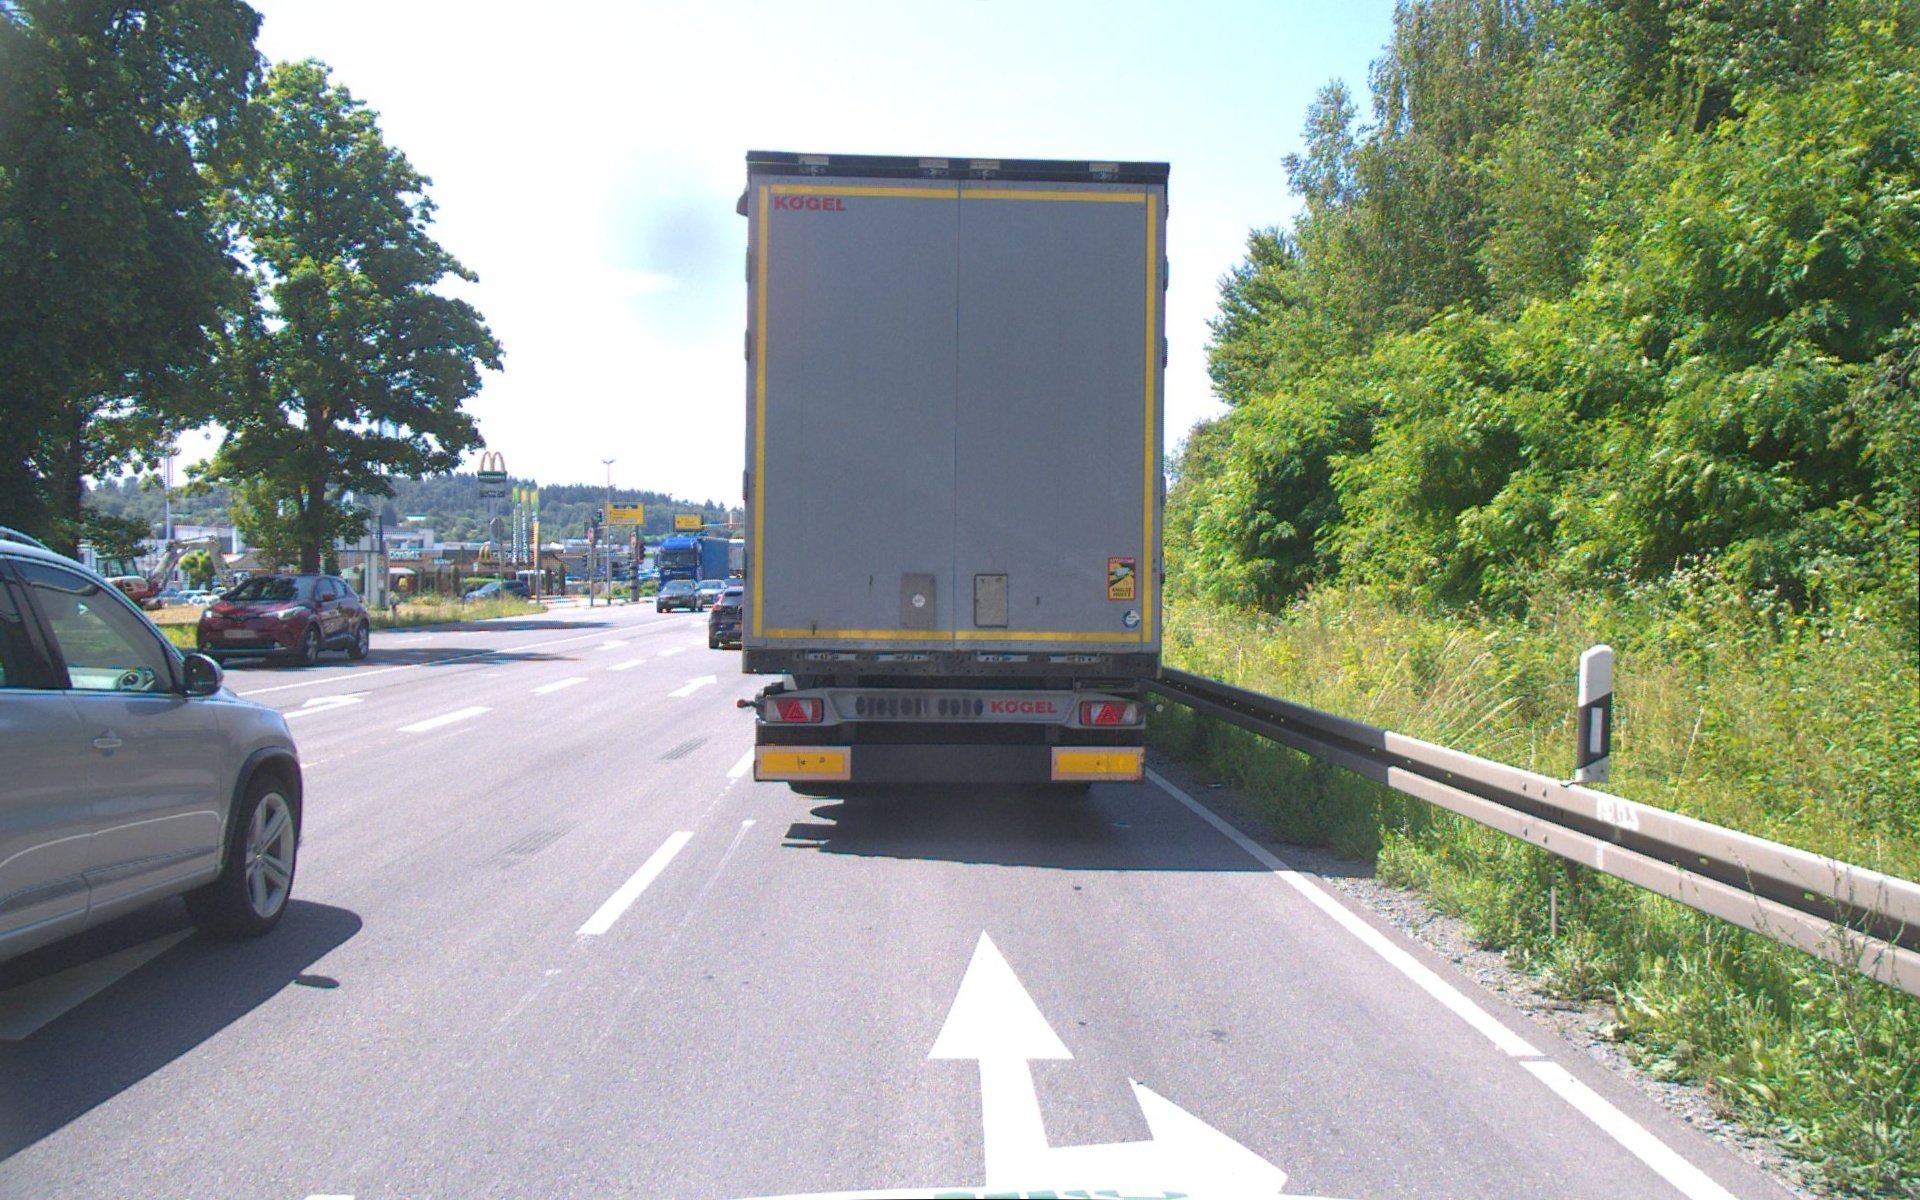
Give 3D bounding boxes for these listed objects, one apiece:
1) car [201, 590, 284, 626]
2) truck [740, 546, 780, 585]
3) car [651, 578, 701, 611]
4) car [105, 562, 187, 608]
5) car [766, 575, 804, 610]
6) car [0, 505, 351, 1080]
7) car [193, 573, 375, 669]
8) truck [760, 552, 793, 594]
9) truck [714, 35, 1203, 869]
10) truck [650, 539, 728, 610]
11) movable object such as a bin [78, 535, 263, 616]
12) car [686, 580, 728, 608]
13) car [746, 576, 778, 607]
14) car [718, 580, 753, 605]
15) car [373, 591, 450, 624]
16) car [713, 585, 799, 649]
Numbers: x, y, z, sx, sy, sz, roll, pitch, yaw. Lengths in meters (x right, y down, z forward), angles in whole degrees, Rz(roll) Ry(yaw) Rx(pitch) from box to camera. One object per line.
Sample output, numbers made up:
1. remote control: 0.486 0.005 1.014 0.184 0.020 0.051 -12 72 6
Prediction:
1. car: -34.739 0.370 80.091 3.920 1.680 1.993 1 0 36
2. truck: -18.366 -3.128 152.214 2.789 3.410 11.476 0 0 -3
3. car: -12.919 -0.223 75.514 1.731 1.410 3.998 1 0 -3
4. car: -37.791 -0.692 76.780 3.925 2.049 1.990 1 0 39
5. car: -10.543 -0.469 99.964 1.953 2.049 3.999 0 0 -1
6. car: -3.716 0.543 5.560 1.768 1.699 4.291 1 0 -1
7. car: -11.603 0.327 28.665 1.866 1.535 3.761 0 0 -5
8. truck: -20.325 -2.860 182.325 3.087 4.425 17.511 0 0 -8
9. truck: -0.119 -0.800 17.813 2.700 4.720 16.651 1 0 -1
10. truck: -17.585 -1.609 108.523 2.908 4.249 16.569 0 0 -2
11. movable object such as a bin: -34.504 -1.080 72.498 2.994 3.356 6.761 1 1 38
12. car: -13.469 -0.321 88.243 1.731 1.410 3.998 1 0 -3
13. car: -13.337 -0.568 111.648 1.737 2.049 3.999 0 0 -1
14. car: -13.710 -0.472 101.200 1.608 1.463 4.016 0 1 -1
15. car: -28.411 0.387 85.691 3.920 1.646 1.833 1 0 36
16. car: -4.770 0.388 39.231 1.652 1.423 4.401 0 0 -2
